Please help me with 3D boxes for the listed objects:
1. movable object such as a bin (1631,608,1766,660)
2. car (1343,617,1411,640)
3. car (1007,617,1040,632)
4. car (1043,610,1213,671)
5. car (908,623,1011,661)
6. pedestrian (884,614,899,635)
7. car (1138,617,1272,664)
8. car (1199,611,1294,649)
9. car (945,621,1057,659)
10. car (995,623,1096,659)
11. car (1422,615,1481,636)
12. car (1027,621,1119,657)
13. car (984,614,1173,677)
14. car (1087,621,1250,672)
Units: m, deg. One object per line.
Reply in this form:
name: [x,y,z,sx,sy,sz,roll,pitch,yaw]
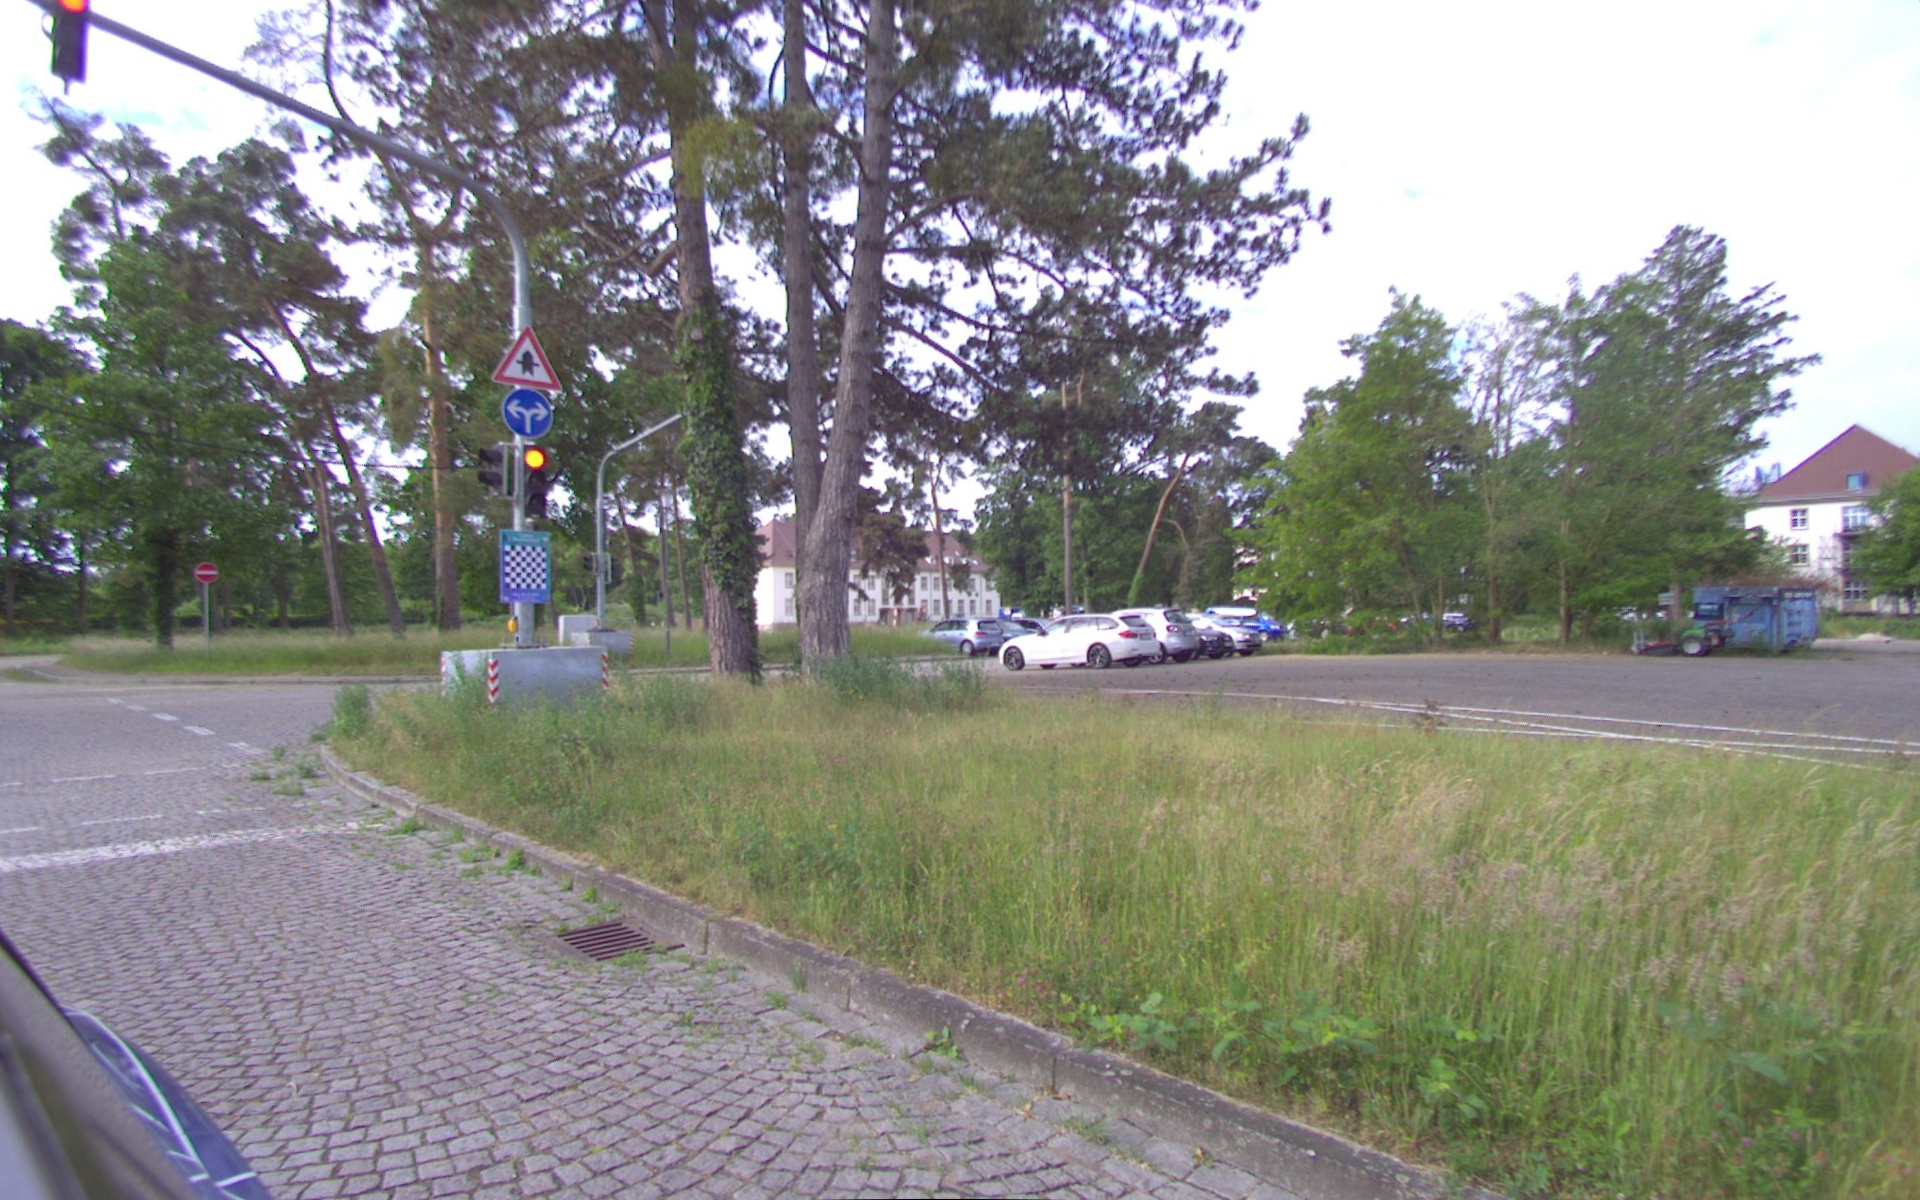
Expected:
movable object such as a bin: [18.175,0.838,24.938,2.540,1.221,1.153,-2,-2,44]
car: [29.095,2.006,70.682,3.998,1.581,1.972,-2,-2,42]
car: [8.975,3.448,142.229,2.167,2.029,4.767,-2,-2,42]
car: [4.779,1.183,29.167,4.484,1.602,1.822,-4,-3,41]
car: [-0.064,1.628,40.014,1.770,1.429,4.003,1,-2,-44]
pedestrian: [-7.169,2.560,105.586,1.185,2.194,1.040,-2,-2,44]
car: [8.027,1.321,33.387,3.984,1.467,1.658,-2,-2,40]
car: [16.065,1.693,56.922,1.969,2.029,4.851,1,-2,-41]
car: [1.646,1.636,41.921,4.636,1.456,1.770,-2,-2,45]
car: [3.631,1.736,43.729,1.769,1.456,4.274,1,-2,-43]
car: [39.336,2.013,81.056,1.970,1.637,3.797,1,-2,-44]
car: [5.052,1.738,45.538,1.769,1.524,3.940,1,-2,-43]
car: [3.092,1.244,27.222,4.820,1.450,1.887,-5,-4,42]
car: [6.372,1.402,31.321,4.634,1.433,1.859,-2,-2,42]
